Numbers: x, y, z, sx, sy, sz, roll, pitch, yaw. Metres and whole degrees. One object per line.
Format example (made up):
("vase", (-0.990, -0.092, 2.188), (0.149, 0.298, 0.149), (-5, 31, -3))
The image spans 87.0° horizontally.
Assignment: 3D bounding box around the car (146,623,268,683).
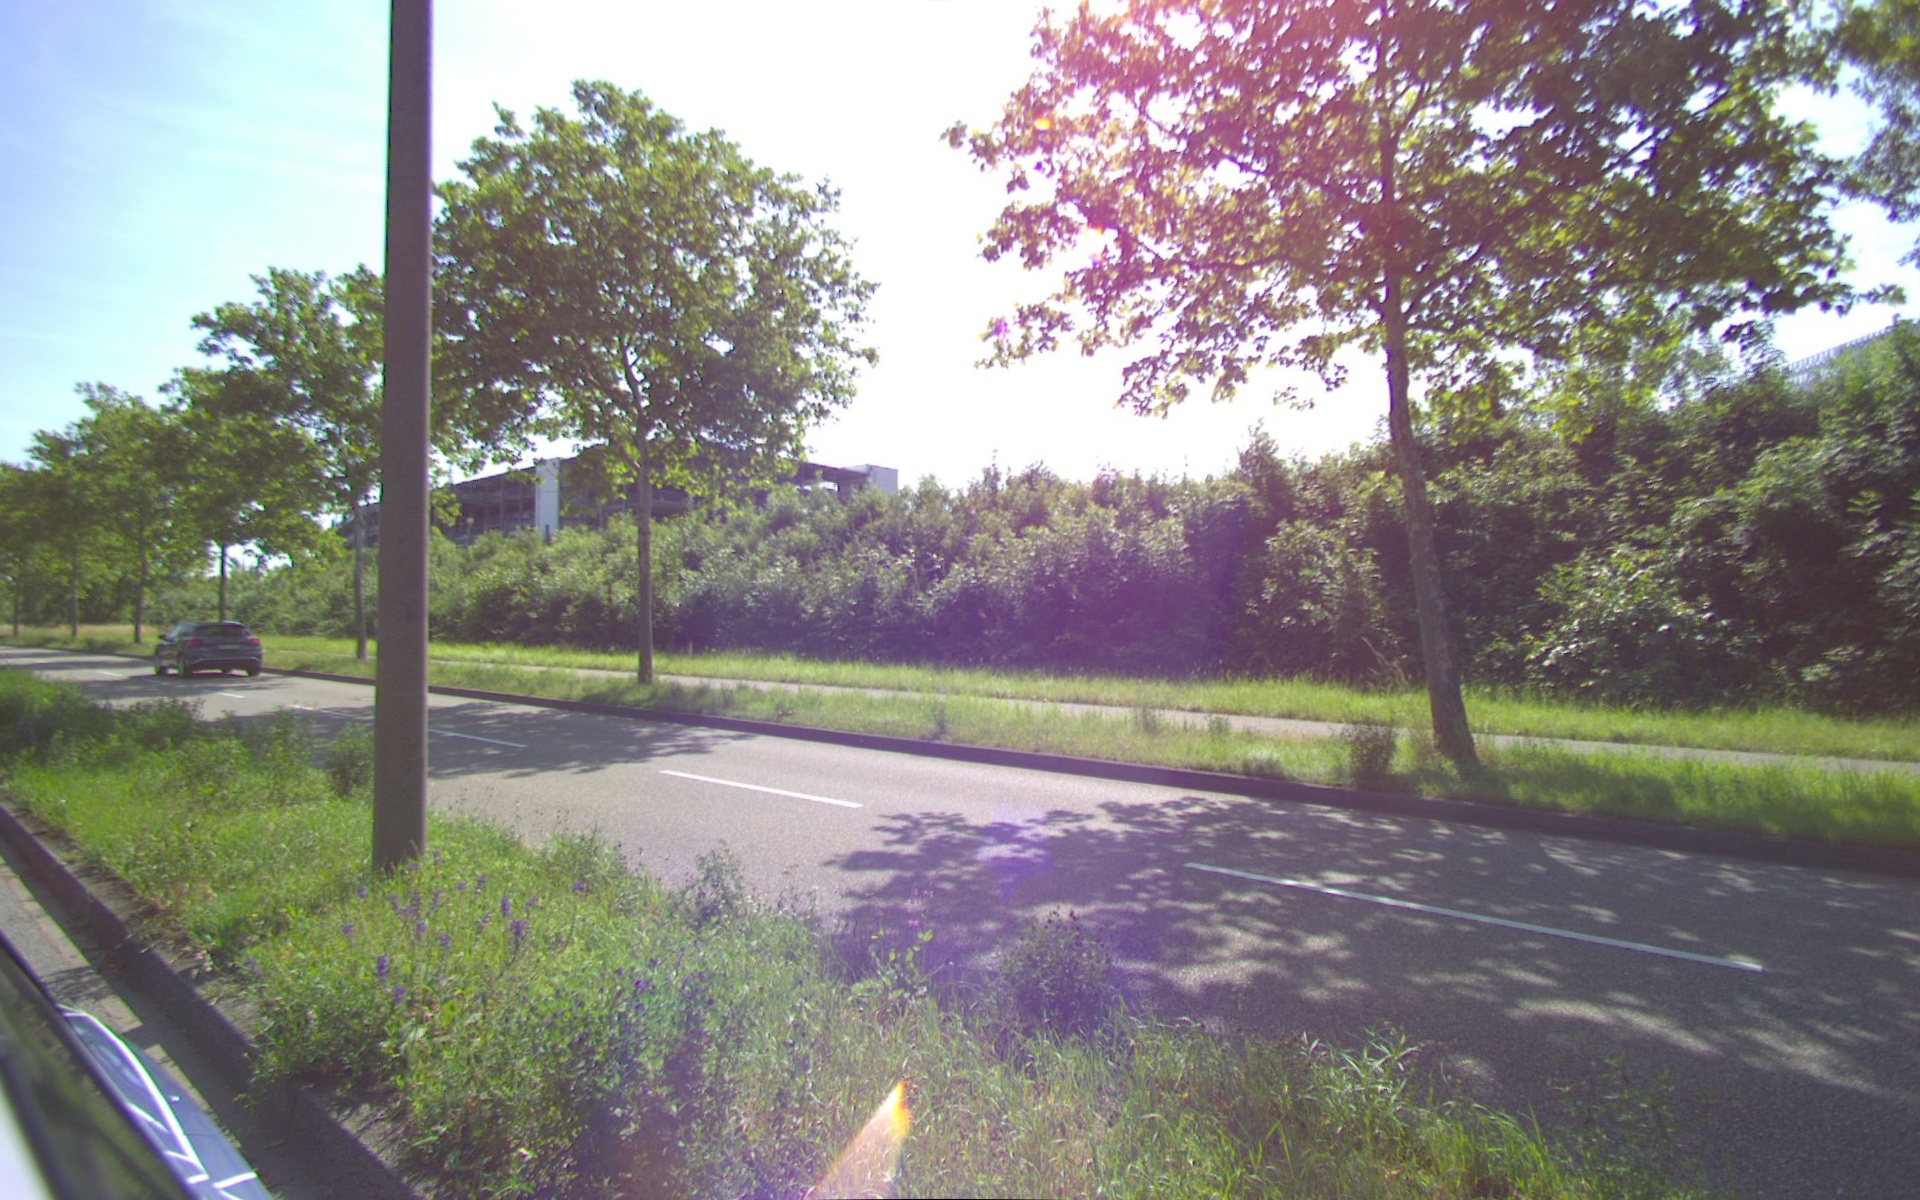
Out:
("car", (-20.742, 1.397, 27.823), (3.935, 1.478, 1.844), (0, -1, 40))
